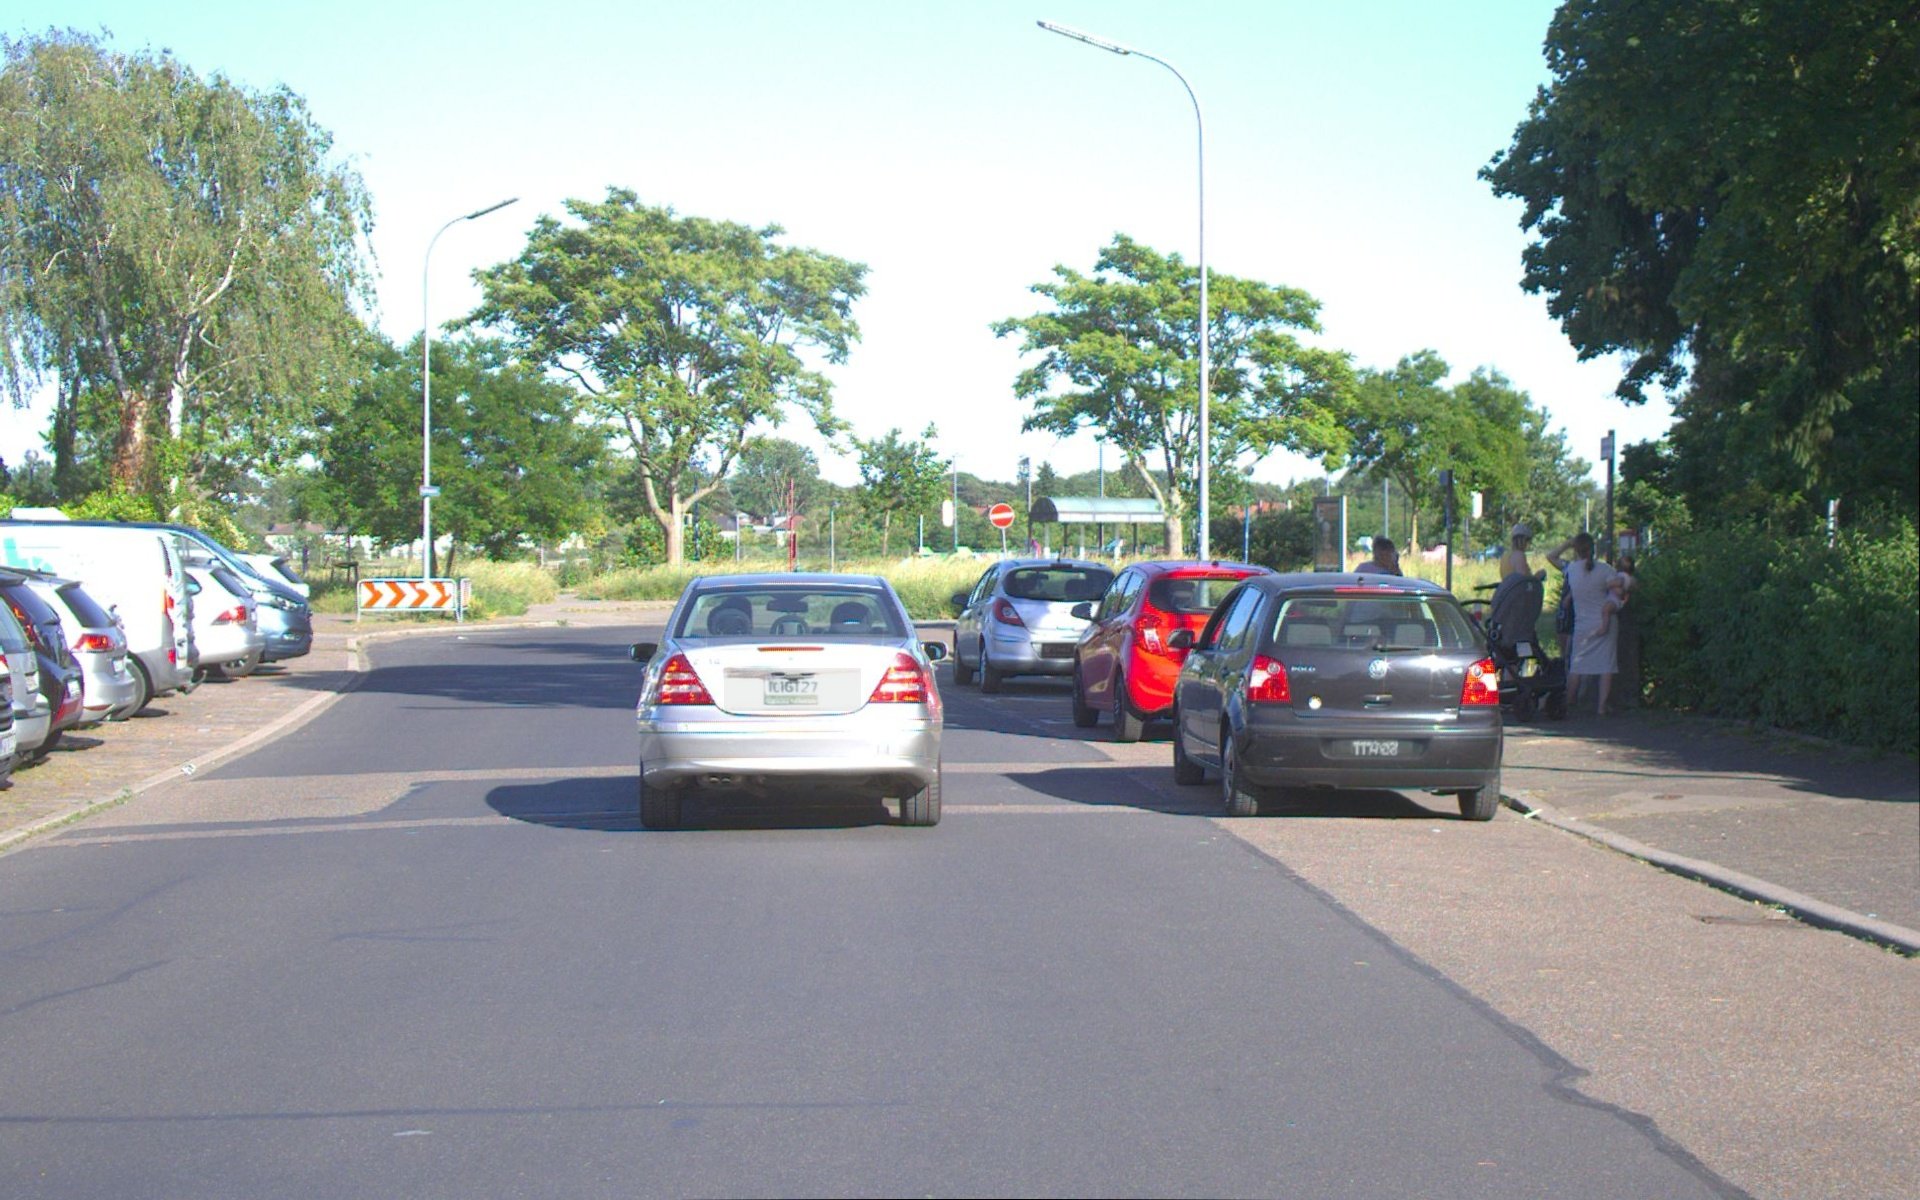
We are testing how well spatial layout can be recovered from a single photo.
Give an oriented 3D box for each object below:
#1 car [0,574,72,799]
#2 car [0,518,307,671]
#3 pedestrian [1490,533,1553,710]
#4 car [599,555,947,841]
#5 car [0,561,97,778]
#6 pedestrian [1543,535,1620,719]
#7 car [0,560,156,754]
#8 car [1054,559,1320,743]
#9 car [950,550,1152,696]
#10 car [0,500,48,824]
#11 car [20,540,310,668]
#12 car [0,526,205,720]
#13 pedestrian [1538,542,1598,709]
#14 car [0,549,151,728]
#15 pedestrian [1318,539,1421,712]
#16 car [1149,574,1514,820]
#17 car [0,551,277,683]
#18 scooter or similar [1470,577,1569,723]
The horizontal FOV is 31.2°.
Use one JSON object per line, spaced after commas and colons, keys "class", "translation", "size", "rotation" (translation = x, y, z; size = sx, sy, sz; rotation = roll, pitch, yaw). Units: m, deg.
{"class": "car", "translation": [-7.909, 0.496, 22.962], "size": [3.513, 1.441, 1.637], "rotation": [2, 0, -2]}
{"class": "car", "translation": [-10.975, -0.077, 44.545], "size": [4.870, 1.909, 2.000], "rotation": [1, 0, -9]}
{"class": "pedestrian", "translation": [5.029, 0.189, 30.813], "size": [0.481, 1.559, 0.597], "rotation": [-1, -1, 6]}
{"class": "car", "translation": [-1.041, 0.493, 20.421], "size": [1.816, 1.458, 4.361], "rotation": [1, 1, -1]}
{"class": "car", "translation": [-8.222, 0.449, 25.091], "size": [3.513, 1.484, 1.637], "rotation": [2, 2, -7]}
{"class": "pedestrian", "translation": [5.369, 0.232, 29.706], "size": [0.485, 1.559, 0.469], "rotation": [-1, -1, -8]}
{"class": "car", "translation": [-8.434, 0.398, 27.691], "size": [3.513, 1.484, 1.637], "rotation": [2, 0, -2]}
{"class": "car", "translation": [1.856, 0.397, 29.181], "size": [1.575, 1.441, 3.789], "rotation": [1, 0, -7]}
{"class": "car", "translation": [0.973, 0.239, 38.832], "size": [1.731, 1.538, 3.789], "rotation": [1, 0, -7]}
{"class": "car", "translation": [-8.047, 0.281, 20.280], "size": [4.788, 1.914, 2.082], "rotation": [2, 0, -4]}
{"class": "car", "translation": [-10.883, 0.054, 47.259], "size": [3.611, 1.601, 1.733], "rotation": [2, 0, -5]}
{"class": "car", "translation": [-9.335, 0.178, 32.834], "size": [3.976, 1.774, 1.926], "rotation": [1, 1, -8]}
{"class": "pedestrian", "translation": [5.526, 0.235, 31.266], "size": [0.361, 1.498, 0.501], "rotation": [-1, -1, -7]}
{"class": "car", "translation": [-9.030, 0.277, 30.020], "size": [3.513, 1.484, 1.728], "rotation": [2, 0, -2]}
{"class": "pedestrian", "translation": [3.796, 0.236, 31.898], "size": [0.787, 1.559, 0.570], "rotation": [2, 0, -5]}
{"class": "car", "translation": [2.241, 0.550, 21.667], "size": [1.647, 1.398, 3.882], "rotation": [0, 0, -4]}
{"class": "car", "translation": [-10.573, 0.188, 42.113], "size": [4.136, 1.487, 1.926], "rotation": [2, 0, -6]}
{"class": "scooter or similar", "translation": [4.793, 0.416, 29.472], "size": [0.622, 1.223, 0.905], "rotation": [-1, 0, -5]}
